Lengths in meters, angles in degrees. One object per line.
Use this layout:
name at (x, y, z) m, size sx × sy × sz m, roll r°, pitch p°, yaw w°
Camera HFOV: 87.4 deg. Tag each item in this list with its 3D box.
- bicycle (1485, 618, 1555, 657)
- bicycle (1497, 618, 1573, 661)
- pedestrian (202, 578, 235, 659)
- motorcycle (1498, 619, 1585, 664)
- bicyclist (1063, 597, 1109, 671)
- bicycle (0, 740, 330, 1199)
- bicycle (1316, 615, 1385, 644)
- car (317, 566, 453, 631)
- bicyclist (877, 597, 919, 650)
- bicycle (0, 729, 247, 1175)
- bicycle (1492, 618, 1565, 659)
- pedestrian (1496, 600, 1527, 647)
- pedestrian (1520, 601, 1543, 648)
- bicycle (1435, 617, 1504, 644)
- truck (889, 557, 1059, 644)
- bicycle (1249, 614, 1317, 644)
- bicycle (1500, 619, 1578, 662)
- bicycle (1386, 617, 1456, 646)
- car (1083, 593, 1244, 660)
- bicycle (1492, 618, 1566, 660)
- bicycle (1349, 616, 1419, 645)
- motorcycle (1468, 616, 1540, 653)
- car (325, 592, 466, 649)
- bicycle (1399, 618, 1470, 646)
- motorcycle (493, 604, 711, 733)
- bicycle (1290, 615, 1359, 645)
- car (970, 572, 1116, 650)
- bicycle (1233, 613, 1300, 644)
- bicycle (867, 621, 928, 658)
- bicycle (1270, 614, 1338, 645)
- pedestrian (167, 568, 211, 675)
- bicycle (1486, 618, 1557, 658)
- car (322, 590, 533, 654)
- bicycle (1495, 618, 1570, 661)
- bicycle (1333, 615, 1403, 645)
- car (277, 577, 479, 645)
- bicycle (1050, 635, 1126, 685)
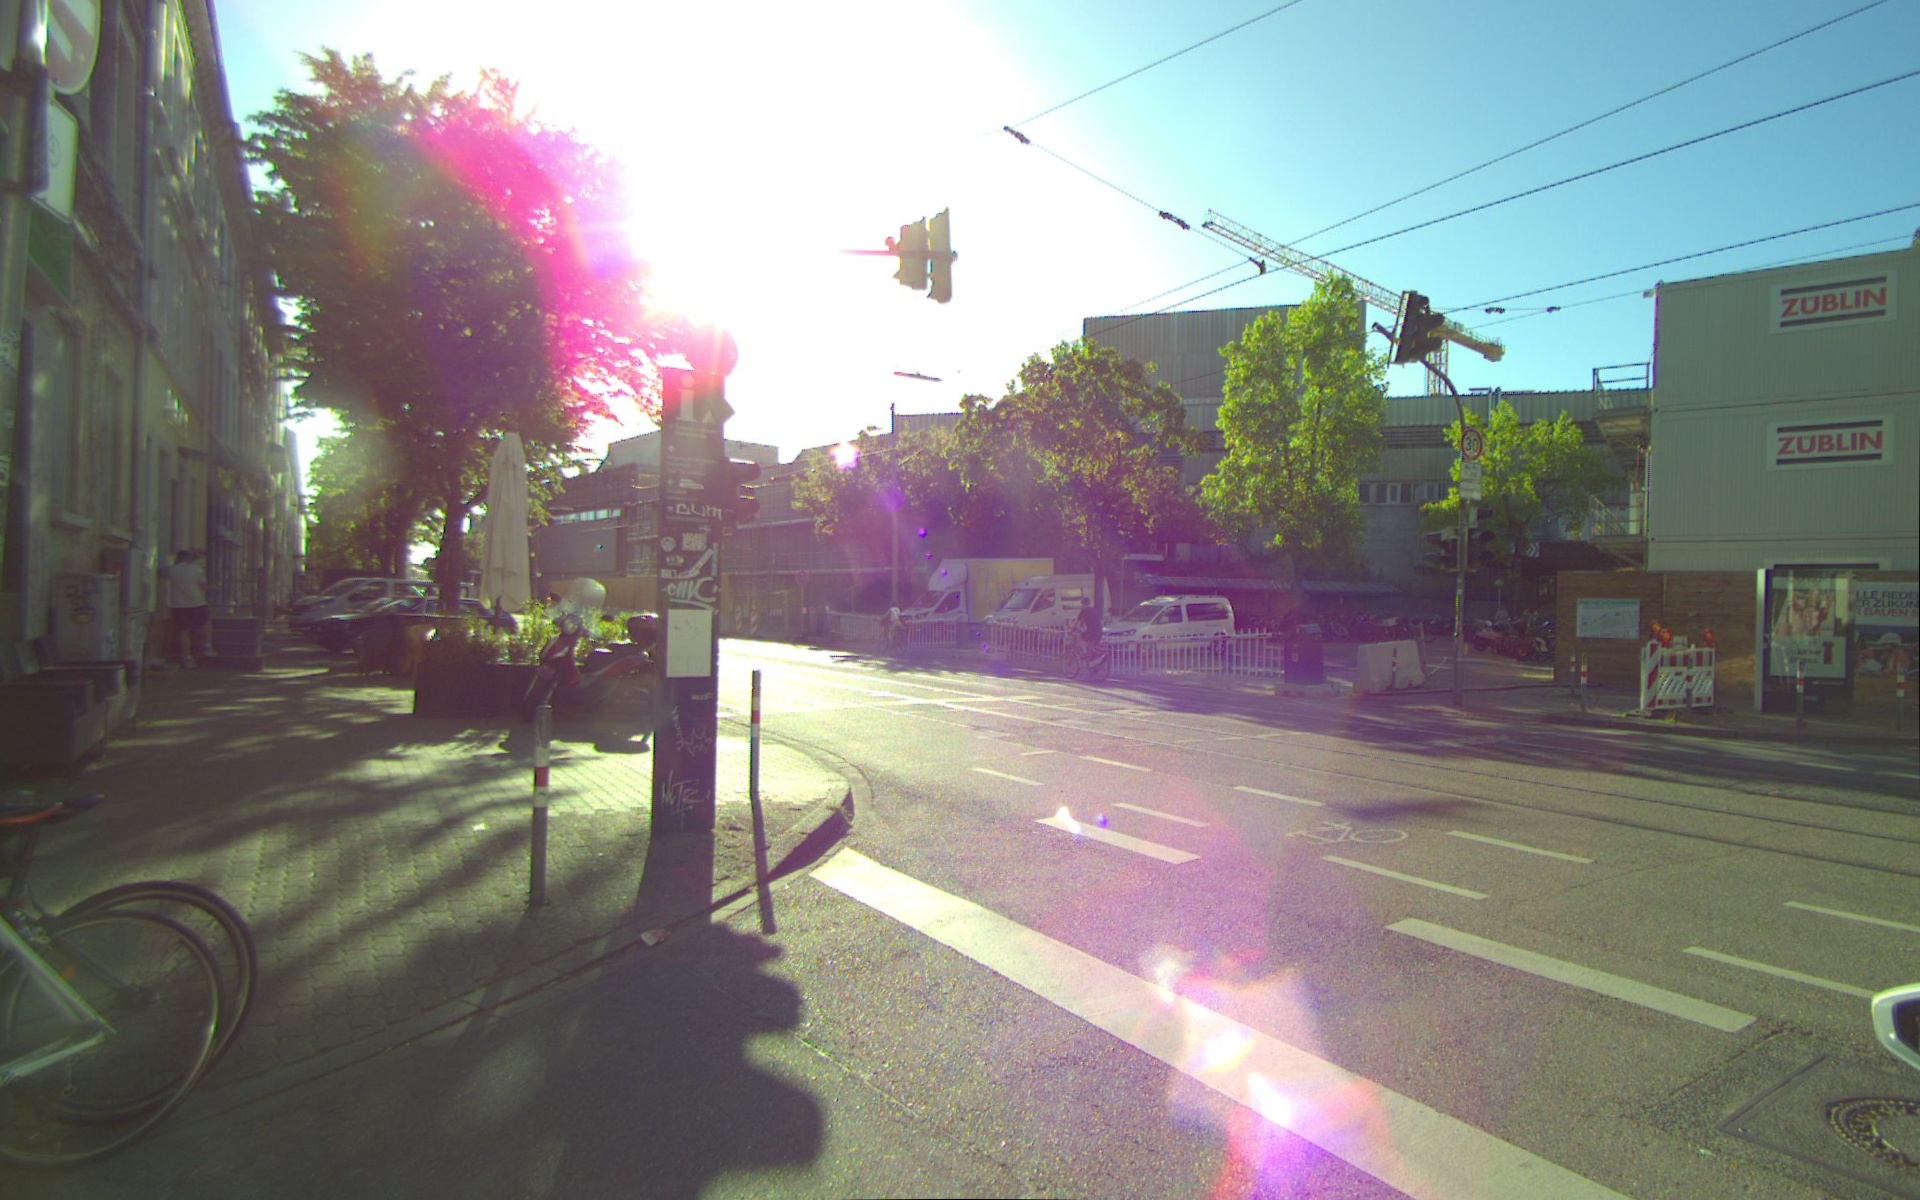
bicycle at (19.230, 1.285, 34.521) m, size 2.009 × 1.274 × 0.543 m, roll 1°, pitch 0°, yaw 20°
bicycle at (17.960, 1.235, 31.413) m, size 2.009 × 1.274 × 0.471 m, roll 1°, pitch 0°, yaw 20°
pedestrian at (-15.526, 0.374, 21.051) m, size 0.534 × 1.665 × 0.564 m, roll 0°, pitch 1°, yaw -35°
motorcycle at (17.330, 1.217, 29.970) m, size 2.168 × 1.274 × 0.543 m, roll 1°, pitch 0°, yaw 20°
bicyclist at (2.925, 0.786, 23.307) m, size 0.675 × 1.680 × 0.804 m, roll 1°, pitch 0°, yaw -34°
bicycle at (-2.372, 0.980, 2.228) m, size 0.449 × 1.060 × 1.686 m, roll 1°, pitch 2°, yaw 23°
bicycle at (16.537, 1.231, 42.620) m, size 0.810 × 1.163 × 3.071 m, roll 1°, pitch 0°, yaw -24°
car at (-26.713, -0.016, 46.734) m, size 5.150 × 2.611 × 2.222 m, roll 5°, pitch -3°, yaw -37°
bicyclist at (-2.025, 0.759, 32.521) m, size 0.886 × 1.661 × 1.090 m, roll 3°, pitch -1°, yaw -32°
bicycle at (-2.770, 0.952, 2.472) m, size 0.442 × 1.060 × 1.663 m, roll 1°, pitch 0°, yaw 23°
bicycle at (18.577, 1.259, 32.854) m, size 2.009 × 1.274 × 0.543 m, roll 1°, pitch 0°, yaw 20°
pedestrian at (24.688, 1.048, 45.004) m, size 0.925 × 2.040 × 0.799 m, roll 1°, pitch 0°, yaw -22°
pedestrian at (25.051, 1.066, 44.029) m, size 0.789 × 2.040 × 1.028 m, roll 1°, pitch 0°, yaw 33°
bicycle at (23.788, 1.419, 46.960) m, size 0.810 × 1.163 × 3.071 m, roll 1°, pitch 0°, yaw -24°
truck at (0.656, -0.033, 42.094) m, size 7.043 × 3.393 × 2.368 m, roll -1°, pitch 1°, yaw -33°
bicycle at (13.150, 1.160, 41.032) m, size 0.810 × 1.163 × 3.071 m, roll 1°, pitch 0°, yaw -24°
bicycle at (17.817, 1.228, 30.955) m, size 2.009 × 1.274 × 0.471 m, roll 1°, pitch 0°, yaw 20°
bicycle at (20.257, 1.381, 44.230) m, size 0.810 × 1.163 × 3.071 m, roll 1°, pitch 0°, yaw -24°
car at (6.495, 0.778, 31.966) m, size 4.884 × 1.918 × 1.996 m, roll -1°, pitch 1°, yaw -28°
bicycle at (18.319, 1.248, 32.364) m, size 2.009 × 1.274 × 0.471 m, roll 1°, pitch 0°, yaw 20°
bicycle at (18.277, 1.301, 43.397) m, size 0.810 × 1.163 × 3.071 m, roll 1°, pitch 0°, yaw -24°
motorcycle at (19.325, 1.218, 35.736) m, size 2.168 × 1.274 × 0.543 m, roll 1°, pitch 0°, yaw 20°
car at (-17.104, 0.610, 30.546) m, size 1.659 × 1.523 × 3.317 m, roll 4°, pitch 1°, yaw 32°
bicycle at (21.072, 1.413, 44.667) m, size 0.810 × 1.163 × 3.071 m, roll 1°, pitch 0°, yaw -24°
motorcycle at (-4.208, 0.806, 12.081) m, size 0.982 × 1.368 × 2.419 m, roll 1°, pitch -3°, yaw 26°
bicycle at (15.158, 1.241, 41.920) m, size 0.810 × 1.163 × 3.071 m, roll 1°, pitch 0°, yaw -24°
car at (3.124, 0.323, 36.988) m, size 5.328 × 2.565 × 1.980 m, roll -3°, pitch 2°, yaw -36°
bicycle at (12.316, 1.127, 40.507) m, size 0.810 × 1.163 × 3.071 m, roll 1°, pitch 0°, yaw -24°
bicycle at (-2.039, 1.264, 32.511) m, size 0.886 × 1.107 × 2.409 m, roll 3°, pitch -1°, yaw -32°
bicycle at (14.171, 1.201, 41.529) m, size 0.810 × 1.163 × 3.071 m, roll 1°, pitch 0°, yaw -24°
pedestrian at (-12.342, 0.334, 16.093) m, size 0.534 × 1.665 × 0.564 m, roll 0°, pitch 1°, yaw -35°
bicycle at (18.975, 1.274, 33.982) m, size 2.009 × 1.274 × 0.543 m, roll 1°, pitch 0°, yaw 20°
car at (-13.719, 0.571, 26.168) m, size 1.660 × 1.510 × 4.631 m, roll 1°, pitch -1°, yaw 34°
bicycle at (18.149, 1.241, 31.880) m, size 2.009 × 1.274 × 0.471 m, roll 1°, pitch 0°, yaw 20°
bicycle at (17.459, 1.268, 43.065) m, size 0.810 × 1.163 × 3.071 m, roll 1°, pitch 0°, yaw -24°
car at (-18.660, 0.353, 32.489) m, size 2.004 × 2.018 × 5.333 m, roll 1°, pitch 0°, yaw 33°
bicycle at (2.941, 1.364, 23.263) m, size 0.675 × 1.032 × 1.903 m, roll 1°, pitch 0°, yaw -33°
